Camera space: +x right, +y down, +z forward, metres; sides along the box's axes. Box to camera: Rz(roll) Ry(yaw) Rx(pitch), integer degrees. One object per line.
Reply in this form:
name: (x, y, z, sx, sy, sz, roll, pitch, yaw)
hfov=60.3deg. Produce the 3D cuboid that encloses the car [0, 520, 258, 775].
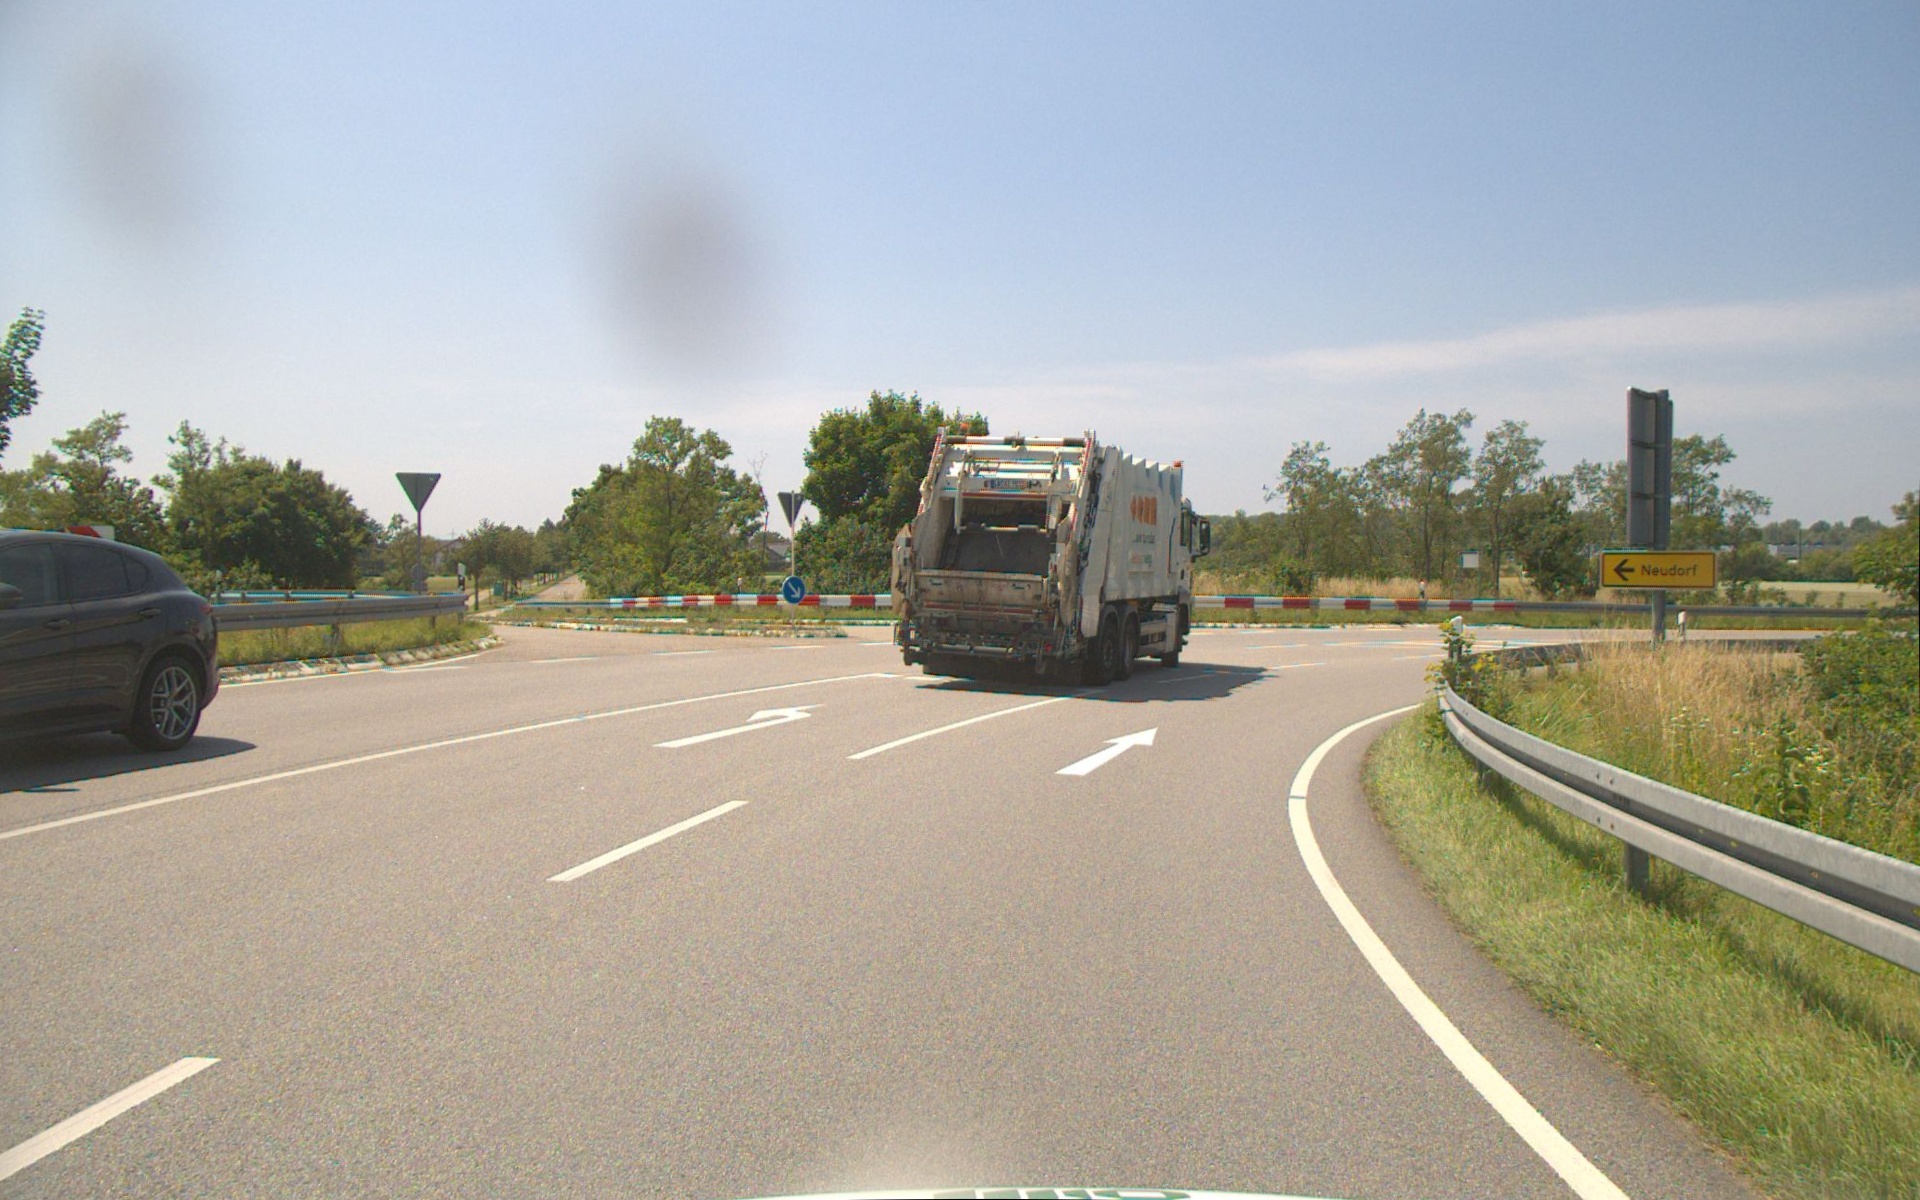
car: (-7.058, 0.271, 11.543, 1.675, 1.686, 4.572, 3, 1, 10)

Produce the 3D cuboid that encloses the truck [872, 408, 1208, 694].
truck: (1.729, -0.768, 26.870, 2.754, 3.732, 9.952, 2, 2, 18)
